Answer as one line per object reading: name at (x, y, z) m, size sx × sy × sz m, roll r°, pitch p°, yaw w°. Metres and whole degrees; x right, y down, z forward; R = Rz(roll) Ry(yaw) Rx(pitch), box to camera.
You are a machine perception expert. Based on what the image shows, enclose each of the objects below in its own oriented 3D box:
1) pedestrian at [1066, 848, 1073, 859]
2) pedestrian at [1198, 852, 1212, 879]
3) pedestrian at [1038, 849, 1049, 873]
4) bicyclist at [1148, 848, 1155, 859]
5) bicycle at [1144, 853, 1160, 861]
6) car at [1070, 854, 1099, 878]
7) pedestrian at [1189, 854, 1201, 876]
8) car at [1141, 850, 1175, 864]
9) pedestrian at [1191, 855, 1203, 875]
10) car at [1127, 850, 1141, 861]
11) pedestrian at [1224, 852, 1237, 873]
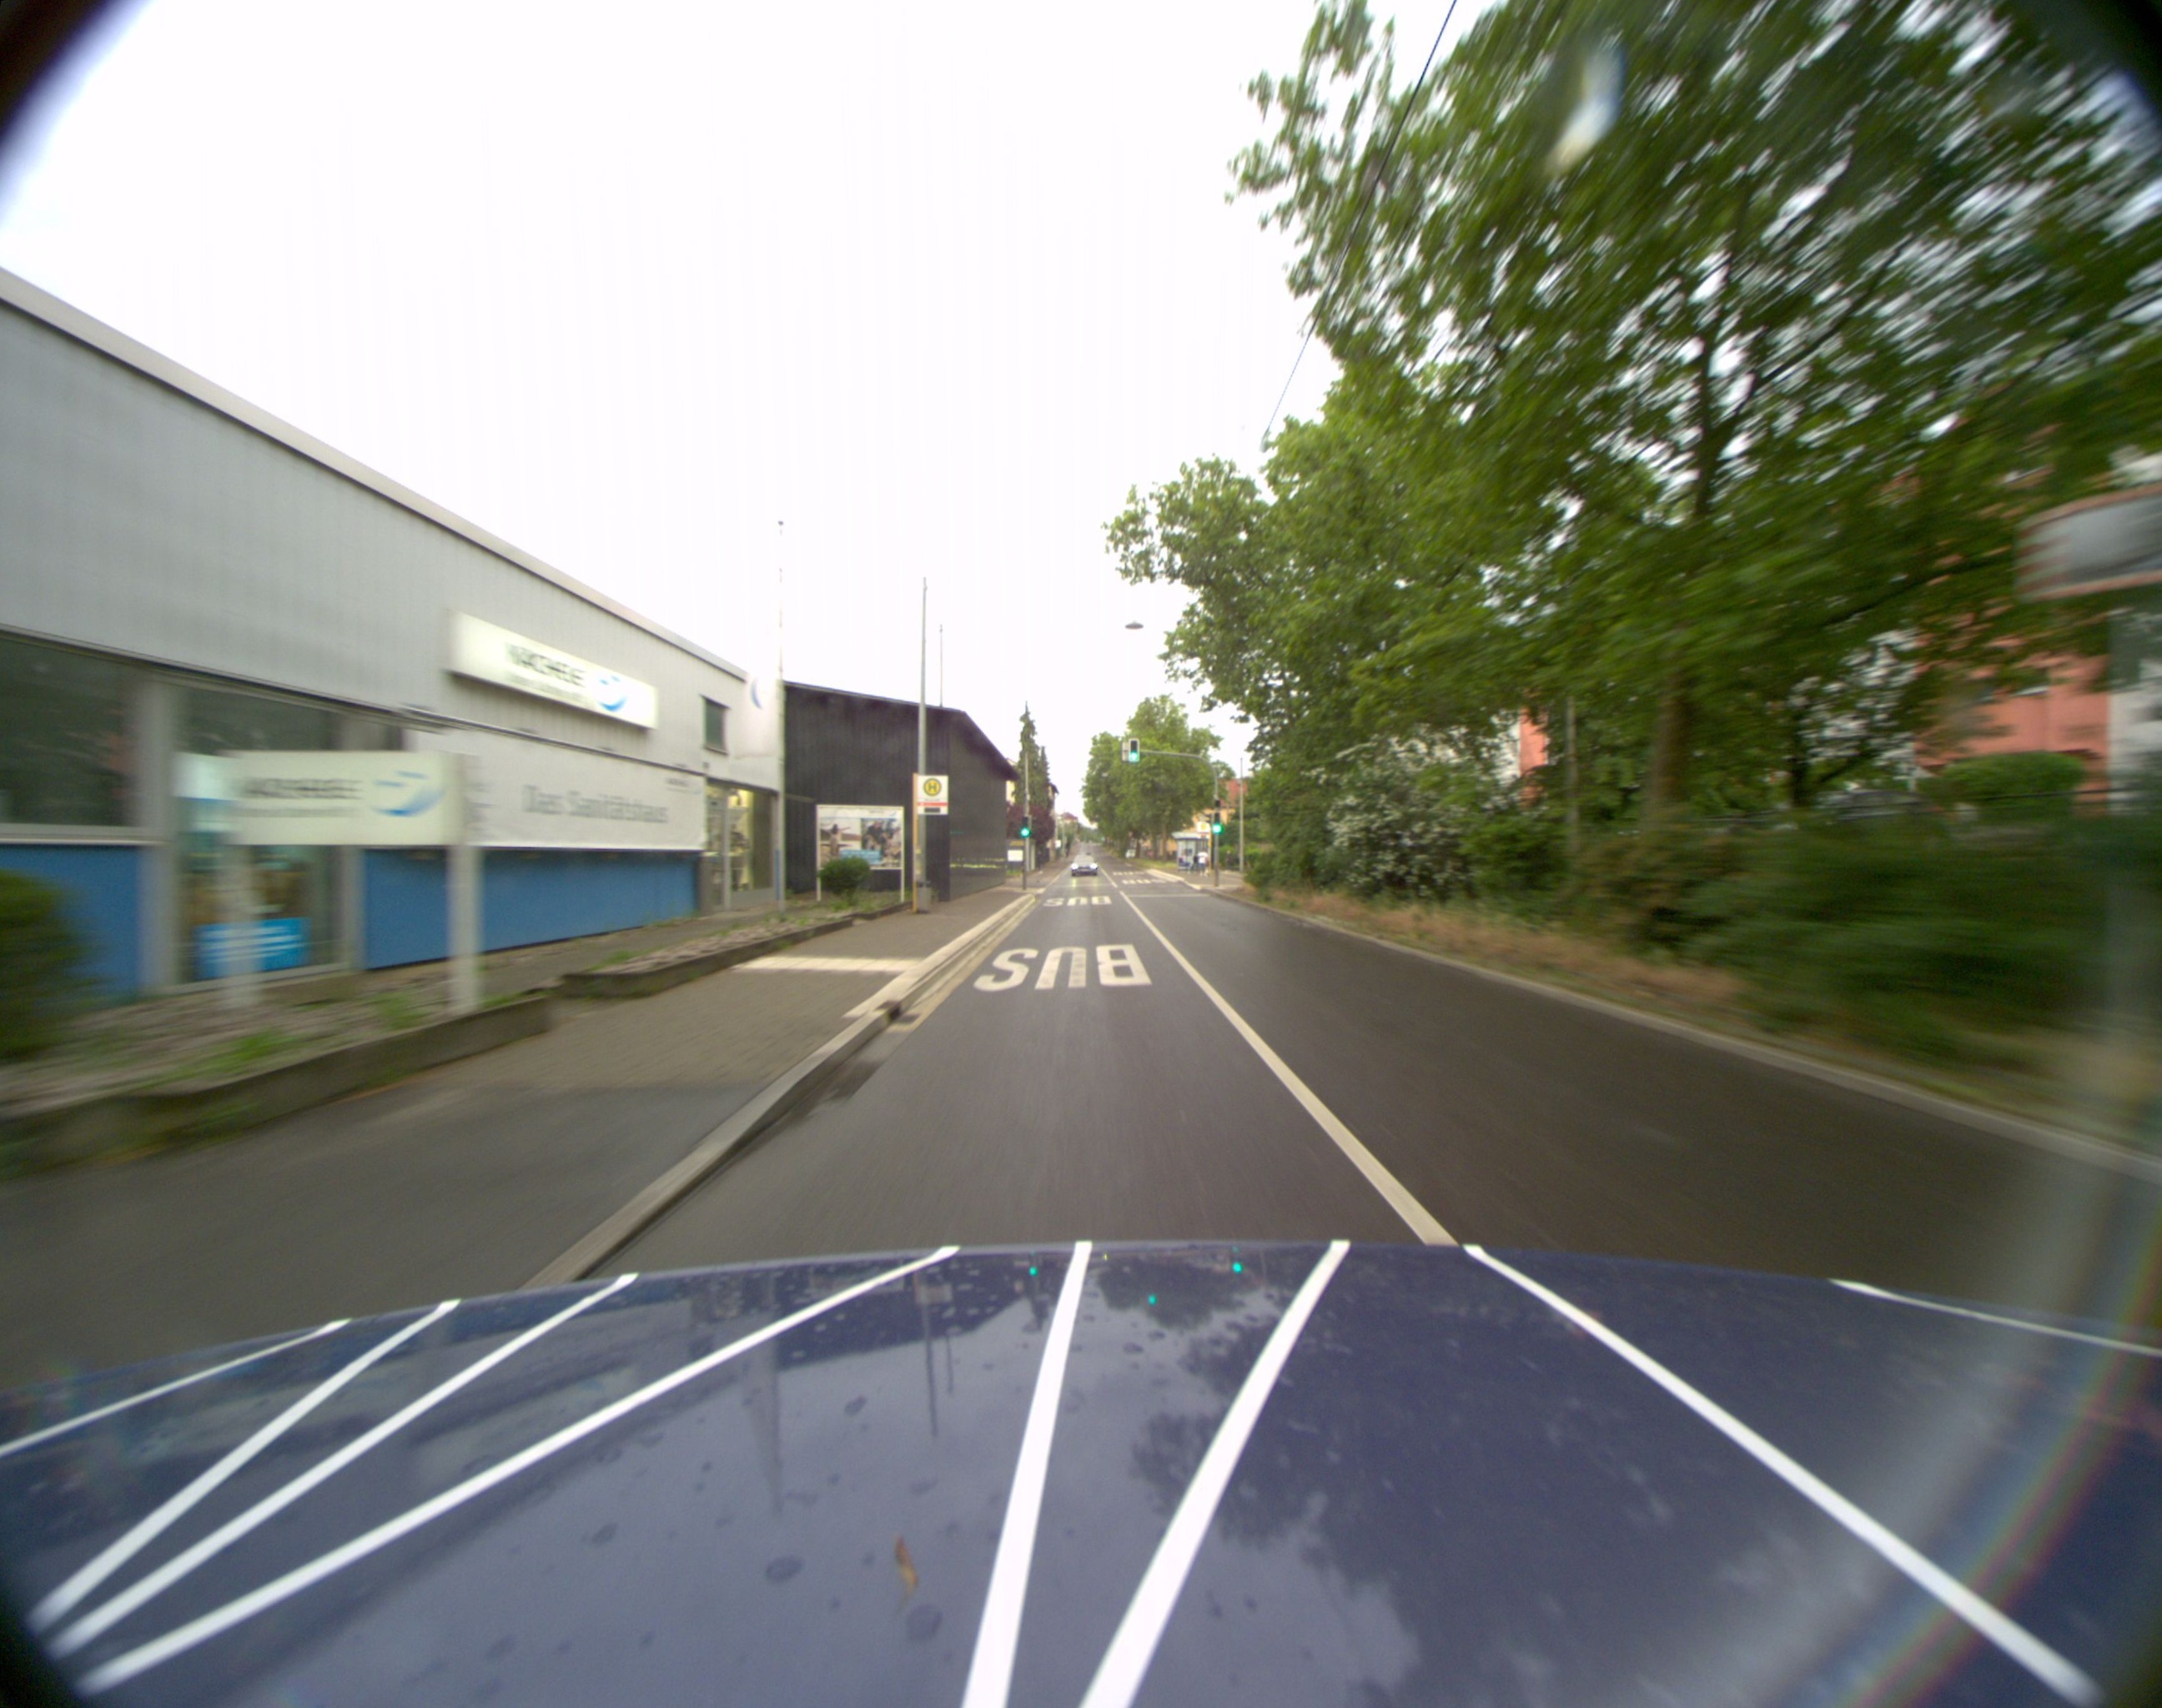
pedestrian at (-1.905, -0.052, 127.783) m, size 1.045 × 1.887 × 0.900 m, roll -1°, pitch 2°, yaw 1°
pedestrian at (7.676, 0.693, 47.062) m, size 0.743 × 1.589 × 0.606 m, roll 3°, pitch 3°, yaw 4°
pedestrian at (-2.760, 0.481, 55.522) m, size 0.744 × 1.695 × 0.901 m, roll -2°, pitch 2°, yaw -5°
bicyclist at (10.404, -0.108, 112.329) m, size 0.815 × 1.544 × 0.836 m, roll -2°, pitch 2°, yaw 15°
bicycle at (10.495, 0.462, 112.364) m, size 2.261 × 0.990 × 0.556 m, roll -2°, pitch 2°, yaw 14°
car at (0.209, 0.870, 53.922) m, size 1.949 × 1.643 × 3.860 m, roll -1°, pitch -1°, yaw 0°
pedestrian at (7.733, 0.729, 51.378) m, size 0.689 × 1.410 × 0.641 m, roll 2°, pitch 3°, yaw 4°
car at (10.212, 0.354, 101.117) m, size 4.218 × 1.530 × 1.981 m, roll -3°, pitch 2°, yaw -1°
pedestrian at (7.992, 0.756, 52.422) m, size 0.777 × 1.310 × 0.641 m, roll 1°, pitch 3°, yaw 4°
car at (8.146, 0.224, 116.204) m, size 1.790 × 1.542 × 4.351 m, roll -1°, pitch 0°, yaw 0°
pedestrian at (11.835, 0.660, 60.182) m, size 0.757 × 1.602 × 0.834 m, roll -2°, pitch 2°, yaw -4°
